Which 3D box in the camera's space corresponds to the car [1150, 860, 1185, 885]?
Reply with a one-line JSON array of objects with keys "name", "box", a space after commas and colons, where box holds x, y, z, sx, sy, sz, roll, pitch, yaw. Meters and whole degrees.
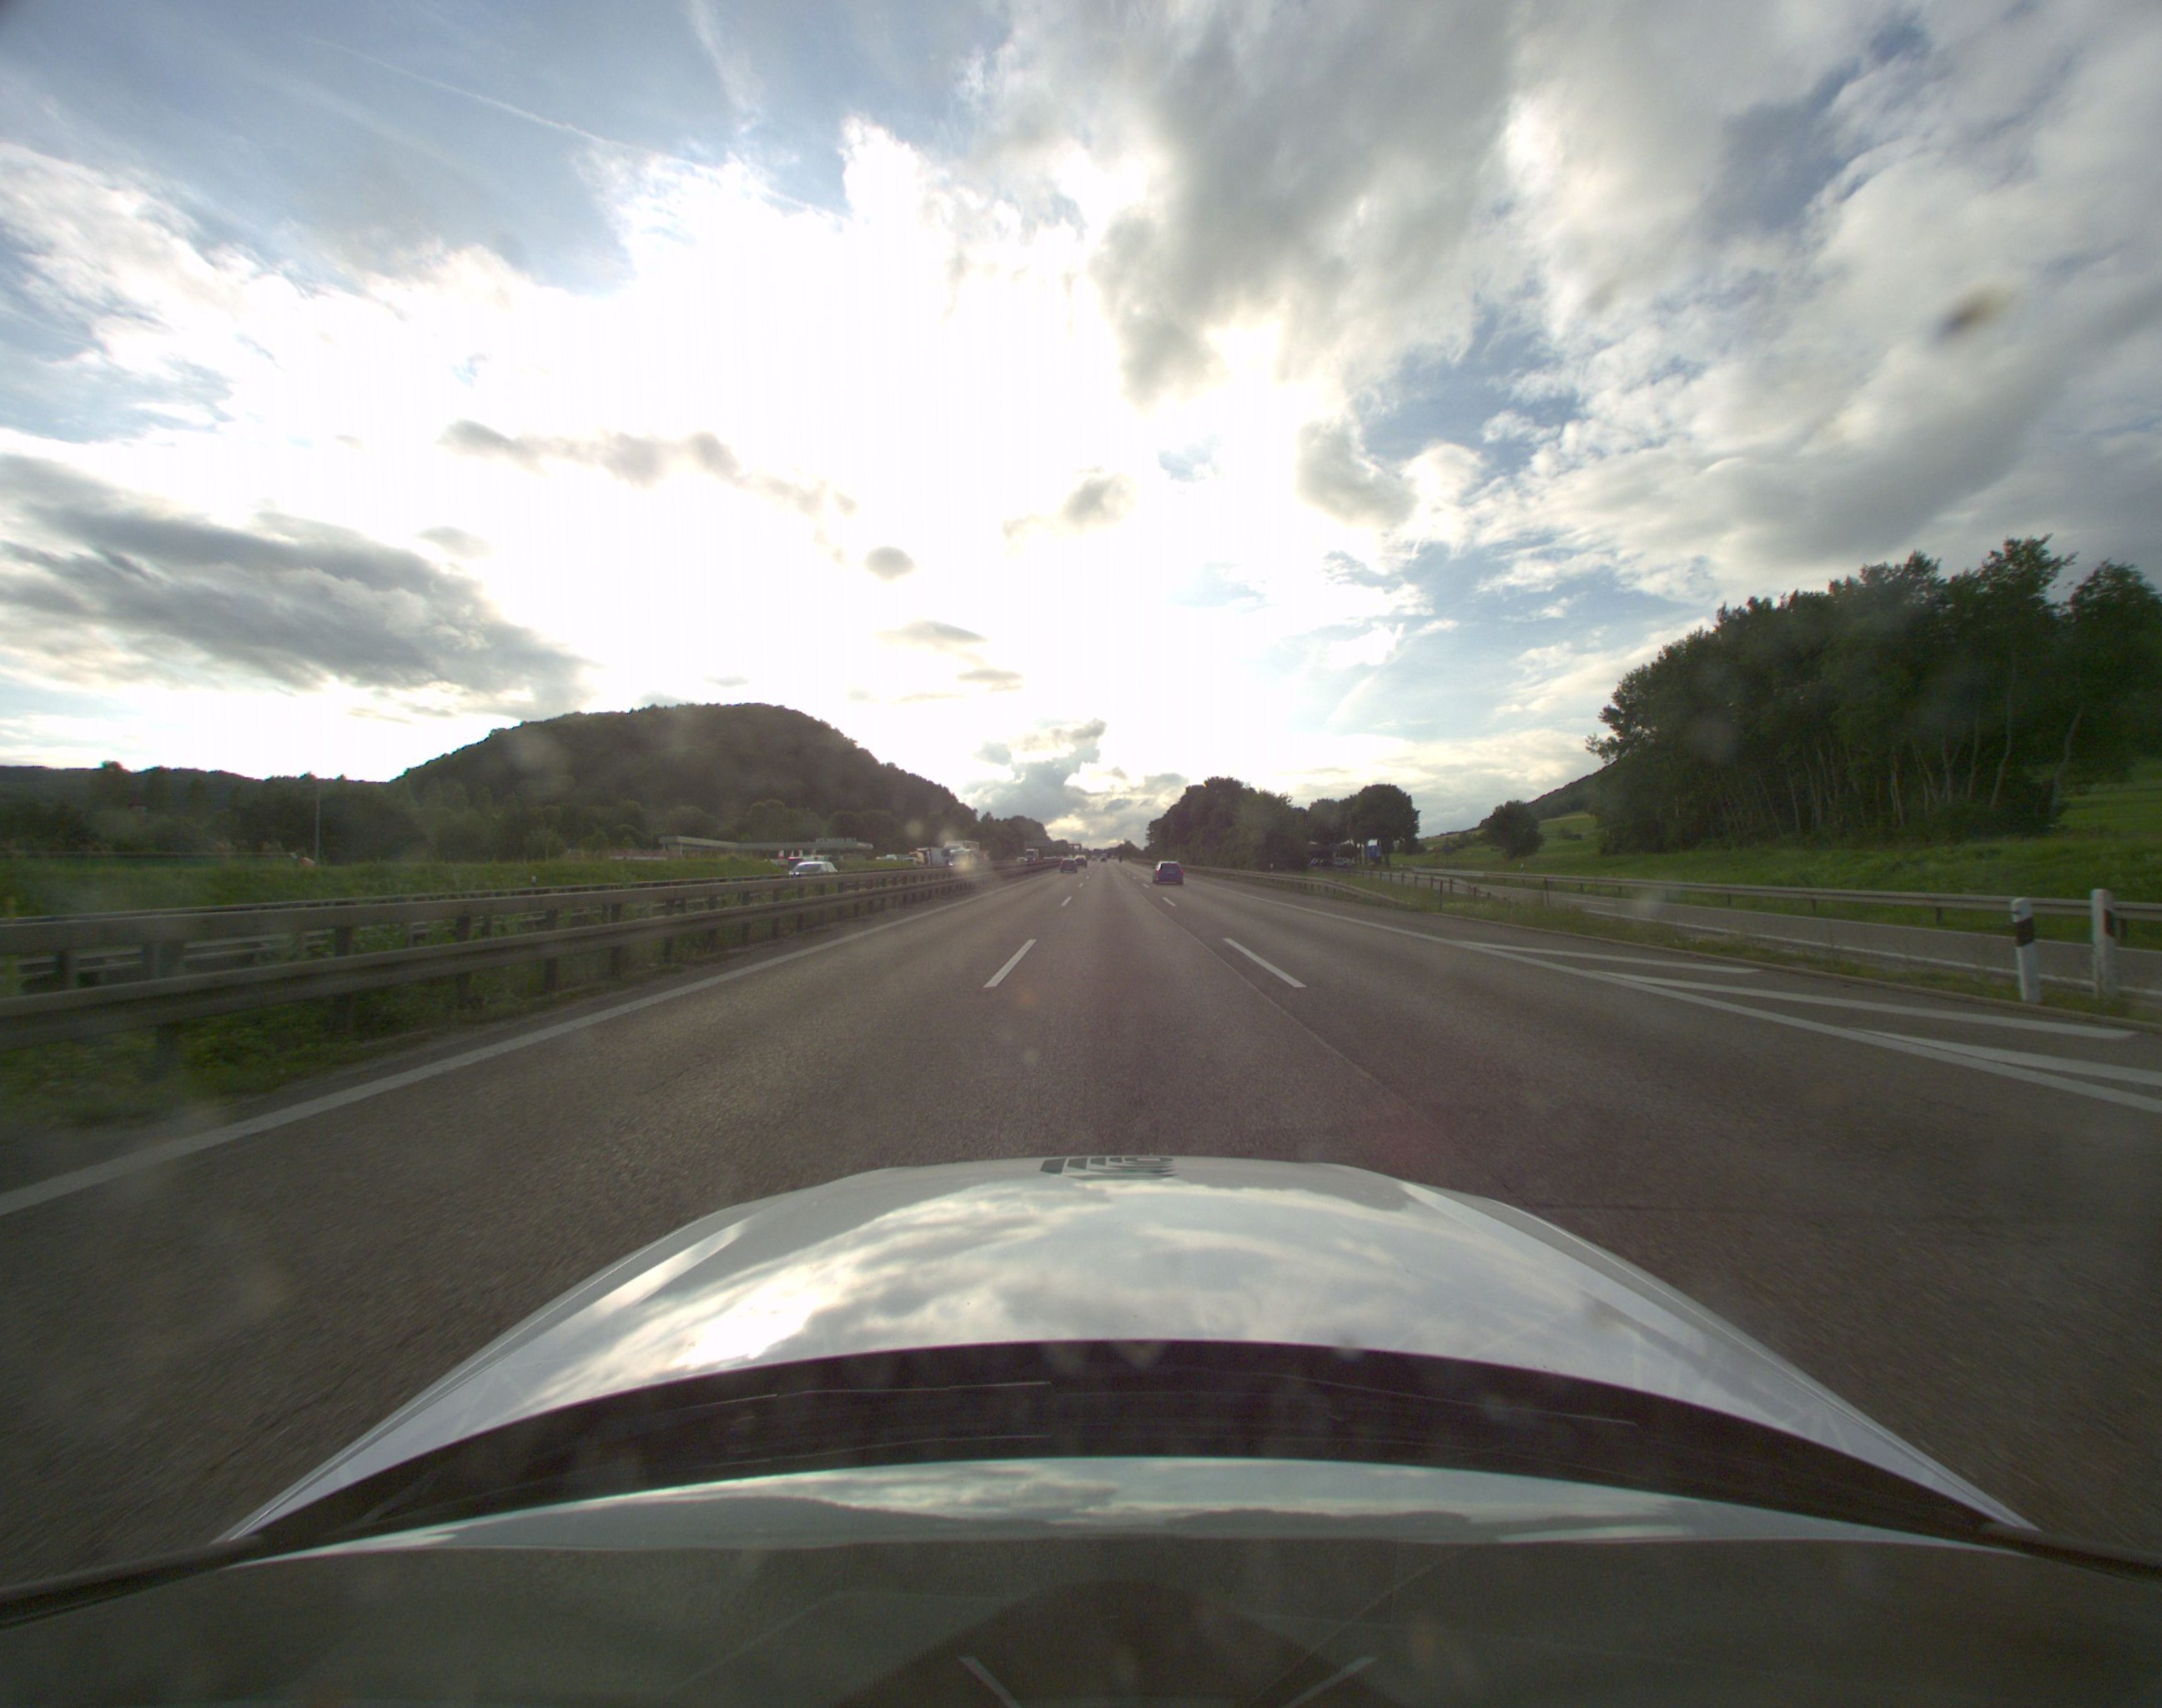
[{"name": "car", "box": [5.411, 1.137, 51.410, 1.761, 1.433, 3.999, 1, 0, 0]}]

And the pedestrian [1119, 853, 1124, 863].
[{"name": "pedestrian", "box": [10.611, 1.063, 214.374, 1.288, 2.452, 1.337, -3, -1, 1]}]

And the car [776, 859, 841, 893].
[{"name": "car", "box": [-14.289, 1.160, 42.956, 1.986, 1.623, 4.001, -2, -2, 1]}]

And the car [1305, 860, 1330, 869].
[{"name": "car", "box": [41.696, 1.832, 143.490, 4.331, 1.556, 1.967, -1, -2, -39]}]

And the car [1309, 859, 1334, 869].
[{"name": "car", "box": [41.279, 1.737, 139.501, 4.331, 1.556, 1.967, -1, -2, -39]}]

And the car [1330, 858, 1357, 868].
[{"name": "car", "box": [40.518, 1.381, 125.619, 4.331, 1.556, 1.967, -1, -2, -39]}]

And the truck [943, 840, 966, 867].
[{"name": "truck", "box": [-17.288, 0.020, 111.899, 1.987, 3.414, 6.738, -2, -2, 0]}]

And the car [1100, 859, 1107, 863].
[{"name": "car", "box": [6.616, 2.029, 239.159, 1.747, 1.222, 3.995, -3, -1, -3]}]

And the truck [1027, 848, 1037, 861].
[{"name": "truck", "box": [-13.726, 0.152, 228.584, 1.987, 3.414, 6.738, -2, -2, 0]}]

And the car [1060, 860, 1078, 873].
[{"name": "car", "box": [-1.157, 1.262, 82.693, 1.531, 1.348, 3.680, -1, -1, 3]}]

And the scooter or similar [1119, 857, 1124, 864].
[{"name": "scooter or similar", "box": [10.663, 1.711, 214.616, 1.298, 1.673, 3.902, -3, -1, 2]}]

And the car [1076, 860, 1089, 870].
[{"name": "car", "box": [0.226, 1.577, 118.393, 1.558, 1.380, 4.005, -3, 0, 4]}]

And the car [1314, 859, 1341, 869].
[{"name": "car", "box": [40.058, 1.579, 132.373, 4.331, 1.556, 1.967, -1, -2, -39]}]

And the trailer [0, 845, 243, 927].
[{"name": "trailer", "box": [-39.119, 1.219, 30.830, 2.568, 2.853, 11.387, -2, -2, 3]}]

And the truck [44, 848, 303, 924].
[{"name": "truck", "box": [-38.852, 1.339, 35.409, 2.568, 2.853, 7.538, -2, -2, 3]}]

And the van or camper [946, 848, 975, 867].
[{"name": "van or camper", "box": [-13.277, 0.353, 90.159, 2.068, 1.930, 4.350, -3, -1, 5]}]
